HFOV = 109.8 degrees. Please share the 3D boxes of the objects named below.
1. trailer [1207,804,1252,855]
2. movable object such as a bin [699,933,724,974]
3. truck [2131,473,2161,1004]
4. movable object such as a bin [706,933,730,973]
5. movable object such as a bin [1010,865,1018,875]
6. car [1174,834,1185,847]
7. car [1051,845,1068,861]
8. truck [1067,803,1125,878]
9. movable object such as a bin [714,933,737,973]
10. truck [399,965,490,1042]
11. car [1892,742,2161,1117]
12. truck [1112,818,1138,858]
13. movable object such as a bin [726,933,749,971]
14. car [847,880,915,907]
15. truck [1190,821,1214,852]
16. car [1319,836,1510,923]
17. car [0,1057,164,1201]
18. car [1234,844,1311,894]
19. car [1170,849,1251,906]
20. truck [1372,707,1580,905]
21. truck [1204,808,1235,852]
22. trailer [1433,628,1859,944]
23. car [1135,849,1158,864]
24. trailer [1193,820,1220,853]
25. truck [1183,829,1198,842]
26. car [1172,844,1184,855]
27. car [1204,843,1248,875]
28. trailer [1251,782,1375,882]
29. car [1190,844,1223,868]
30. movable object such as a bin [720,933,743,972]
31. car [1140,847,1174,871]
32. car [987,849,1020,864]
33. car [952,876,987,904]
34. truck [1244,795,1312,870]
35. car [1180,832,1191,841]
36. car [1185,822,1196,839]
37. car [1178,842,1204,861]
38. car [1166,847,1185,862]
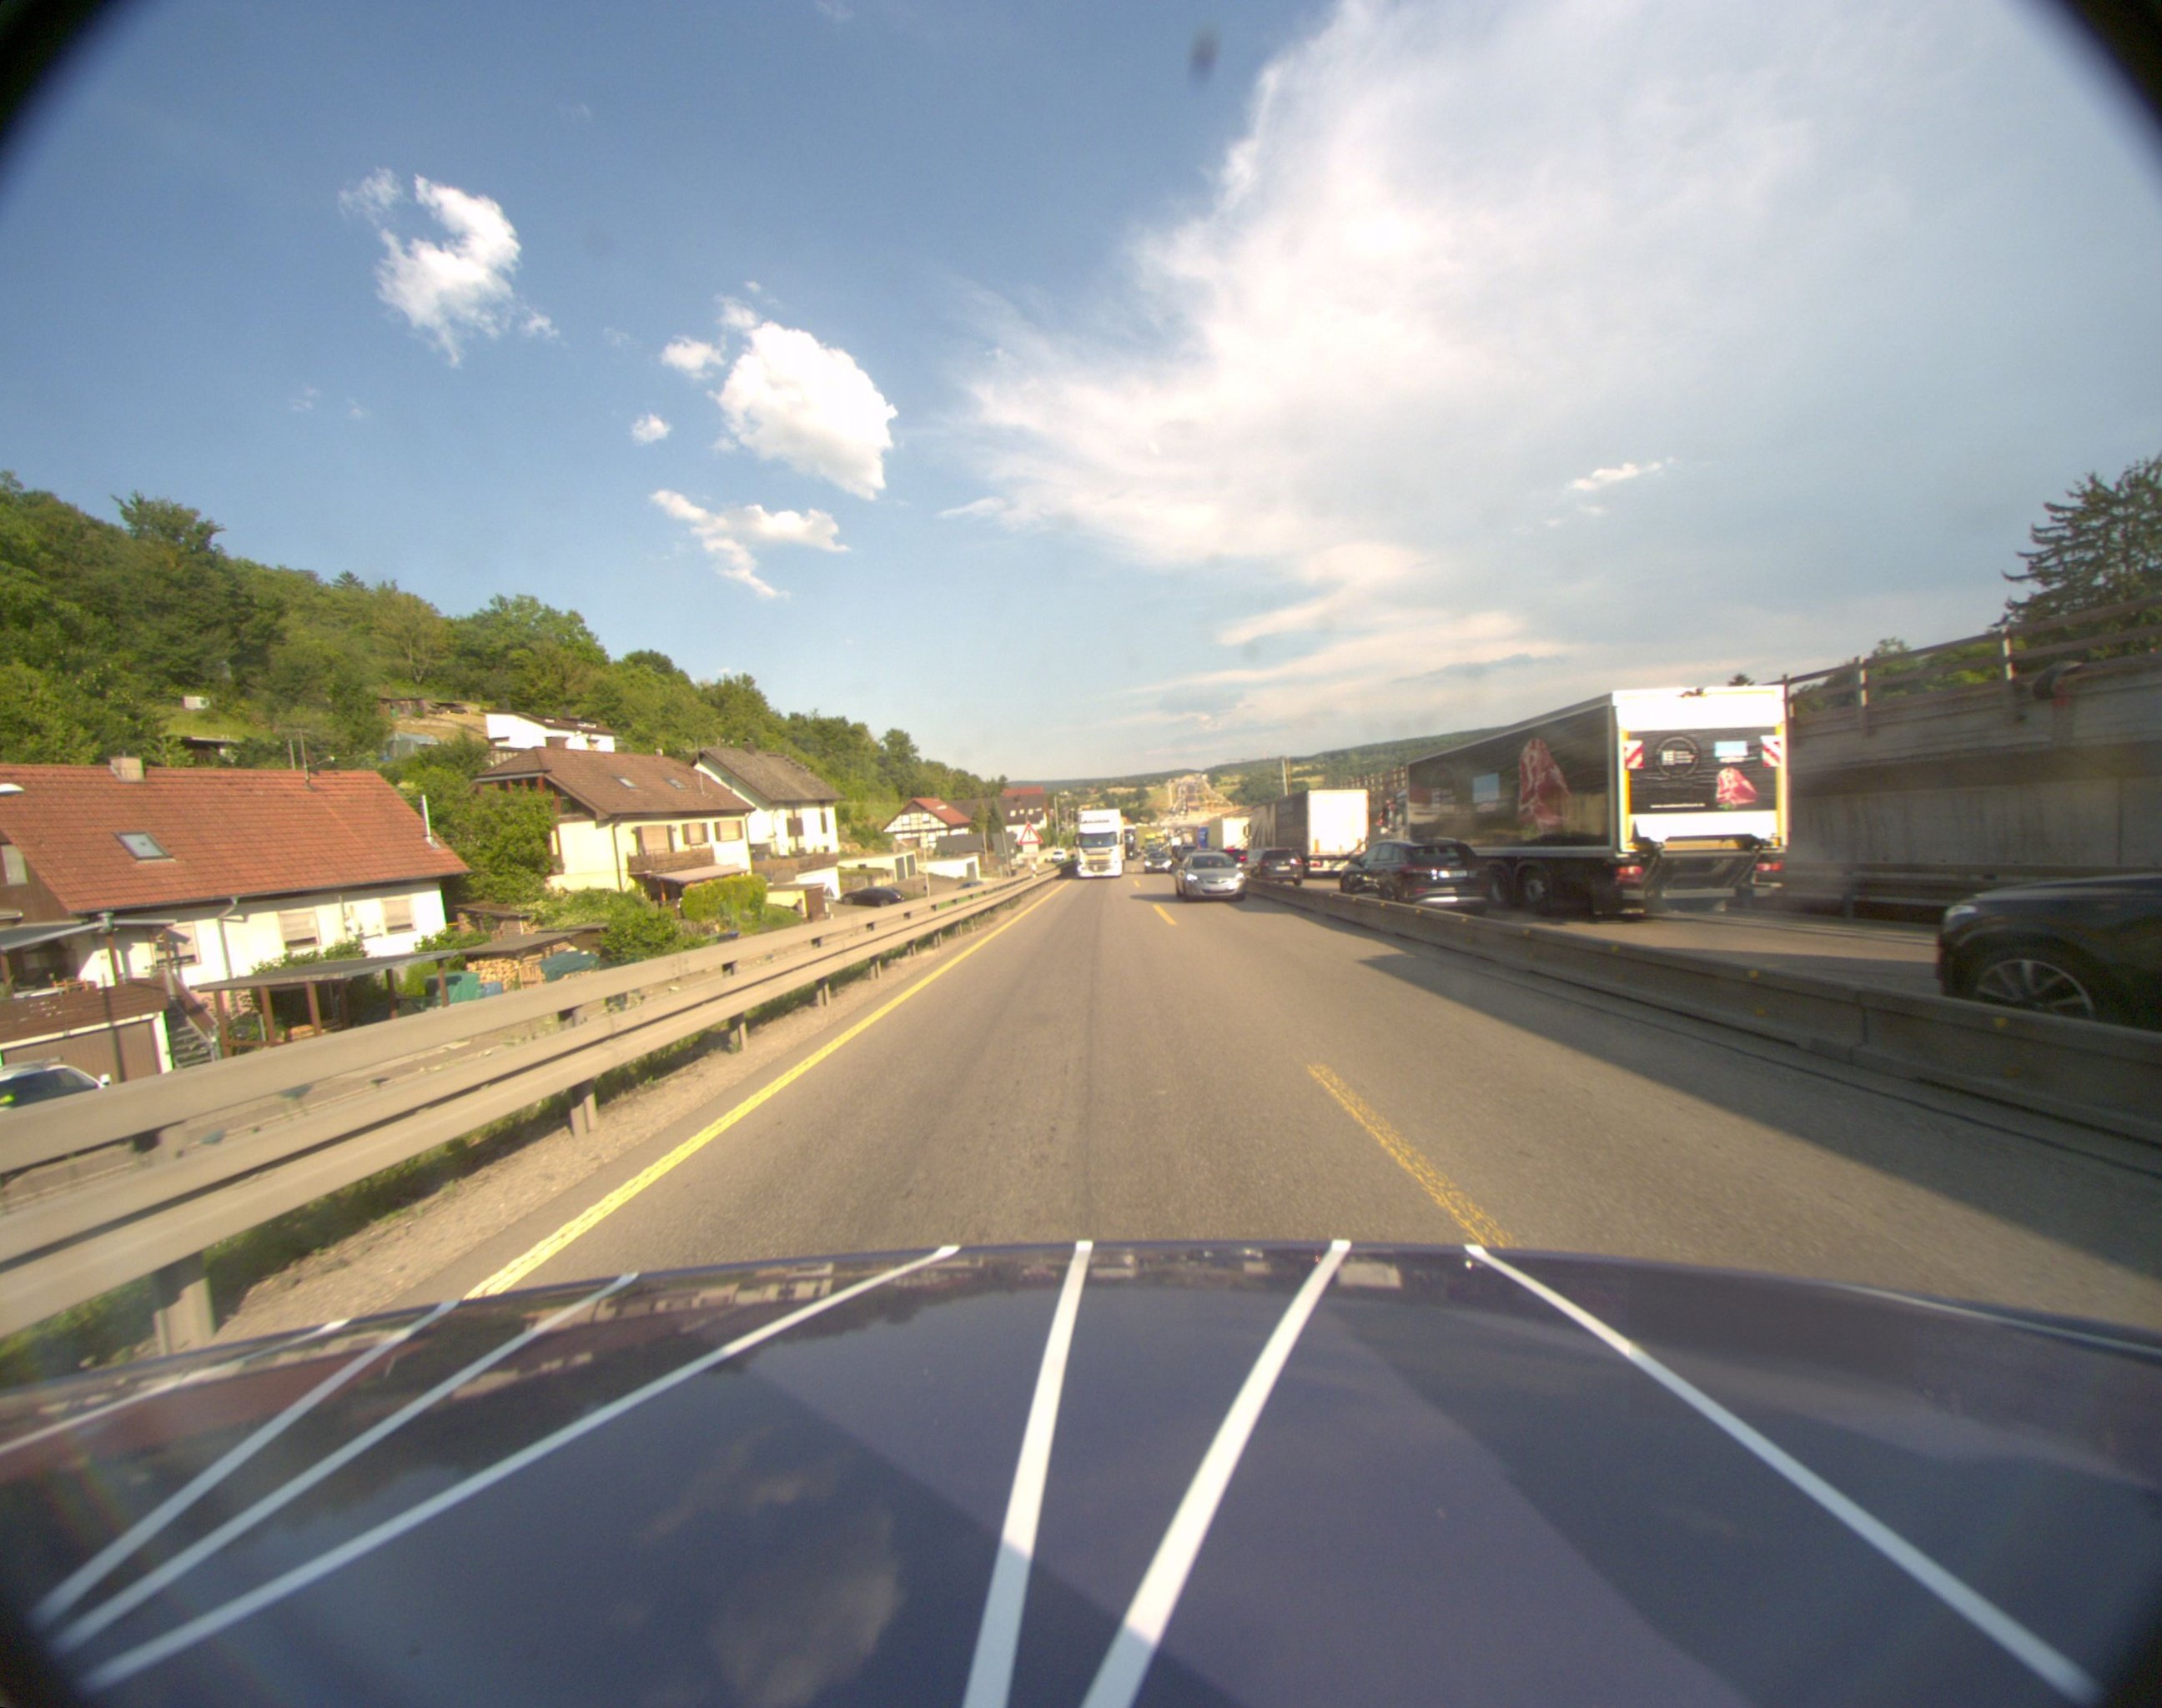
[{"bbox_3d":[13.759,-2.247,71.480,2.461,4.295,13.776,-2,1,4],"label":"trailer"},{"bbox_3d":[-17.058,4.575,35.077,0.530,1.760,0.416,-12,1,14],"label":"movable object such as a bin"},{"bbox_3d":[9.724,-0.874,3.506,2.756,4.091,5.029,-1,1,-1],"label":"truck"},{"bbox_3d":[-16.936,4.632,35.497,0.536,1.760,0.409,-12,1,14],"label":"movable object such as a bin"},{"bbox_3d":[-7.435,1.786,84.269,0.723,0.995,0.677,-4,2,6],"label":"movable object such as a bin"},{"bbox_3d":[21.159,-2.888,163.216,2.000,2.601,5.615,-1,1,6],"label":"car"},{"bbox_3d":[-2.991,-0.127,108.143,1.823,1.931,4.284,-3,3,4],"label":"car"},{"bbox_3d":[1.218,-0.912,49.362,2.891,4.059,13.894,-2,1,4],"label":"truck"},{"bbox_3d":[-16.818,4.689,35.908,0.490,1.760,0.414,-12,1,14],"label":"movable object such as a bin"},{"bbox_3d":[-22.043,5.056,26.286,2.002,1.729,3.990,-12,6,-41],"label":"truck"},{"bbox_3d":[6.506,0.396,2.795,1.837,1.952,4.898,-2,2,1],"label":"car"},{"bbox_3d":[5.440,-1.870,93.179,2.787,4.505,7.191,-4,0,4],"label":"truck"},{"bbox_3d":[-16.613,4.736,36.743,0.490,1.760,0.414,-12,1,14],"label":"movable object such as a bin"},{"bbox_3d":[-15.143,2.977,57.515,4.501,1.517,2.000,4,4,9],"label":"car"},{"bbox_3d":[17.629,-2.561,111.261,2.821,4.234,10.582,-2,1,5],"label":"truck"},{"bbox_3d":[6.994,0.418,16.709,1.881,1.596,5.367,0,1,1],"label":"car"},{"bbox_3d":[-23.315,5.803,16.235,5.477,2.251,2.000,-3,3,8],"label":"car"},{"bbox_3d":[7.359,0.509,29.709,1.867,1.577,4.745,-5,2,3],"label":"car"},{"bbox_3d":[3.877,0.646,23.436,1.810,1.478,4.118,-3,1,1],"label":"car"},{"bbox_3d":[10.207,-1.159,20.273,2.926,4.489,5.027,-2,1,2],"label":"truck"},{"bbox_3d":[14.266,-2.429,78.332,2.461,4.292,5.474,-2,2,4],"label":"truck"},{"bbox_3d":[9.882,-1.034,14.621,2.918,4.440,7.151,-3,1,2],"label":"trailer"},{"bbox_3d":[7.320,0.296,85.331,1.999,1.565,3.998,-2,1,-3],"label":"car"},{"bbox_3d":[16.737,-2.350,101.859,2.821,4.082,8.288,-2,1,5],"label":"trailer"},{"bbox_3d":[27.137,-4.528,187.997,3.241,3.128,6.490,-2,1,5],"label":"truck"},{"bbox_3d":[14.979,-0.730,117.470,1.703,1.567,4.370,-2,1,5],"label":"car"},{"bbox_3d":[8.262,0.246,43.671,1.771,1.542,4.478,-3,2,3],"label":"car"},{"bbox_3d":[11.480,-1.105,39.436,2.782,4.179,13.832,-2,1,3],"label":"trailer"},{"bbox_3d":[9.087,0.092,55.382,1.778,1.448,4.814,-3,2,2],"label":"car"},{"bbox_3d":[-16.707,4.700,36.325,0.490,1.760,0.414,-12,1,14],"label":"movable object such as a bin"},{"bbox_3d":[4.965,0.302,49.873,1.823,1.433,4.000,-3,0,1],"label":"car"},{"bbox_3d":[-9.986,0.286,98.217,3.995,1.829,1.750,0,3,7],"label":"car"},{"bbox_3d":[-8.888,2.849,60.935,1.772,1.590,3.616,-10,3,5],"label":"car"},{"bbox_3d":[11.834,-1.265,46.156,2.771,4.179,6.114,-2,1,3],"label":"truck"},{"bbox_3d":[24.118,-4.042,175.366,2.213,2.011,3.974,-5,1,7],"label":"car"},{"bbox_3d":[36.170,-7.702,252.432,3.326,5.356,14.303,-2,1,8],"label":"car"},{"bbox_3d":[10.868,-0.303,75.508,2.012,1.645,4.974,-4,1,4],"label":"car"},{"bbox_3d":[11.692,0.053,94.181,1.885,1.598,4.731,-4,1,3],"label":"car"}]
